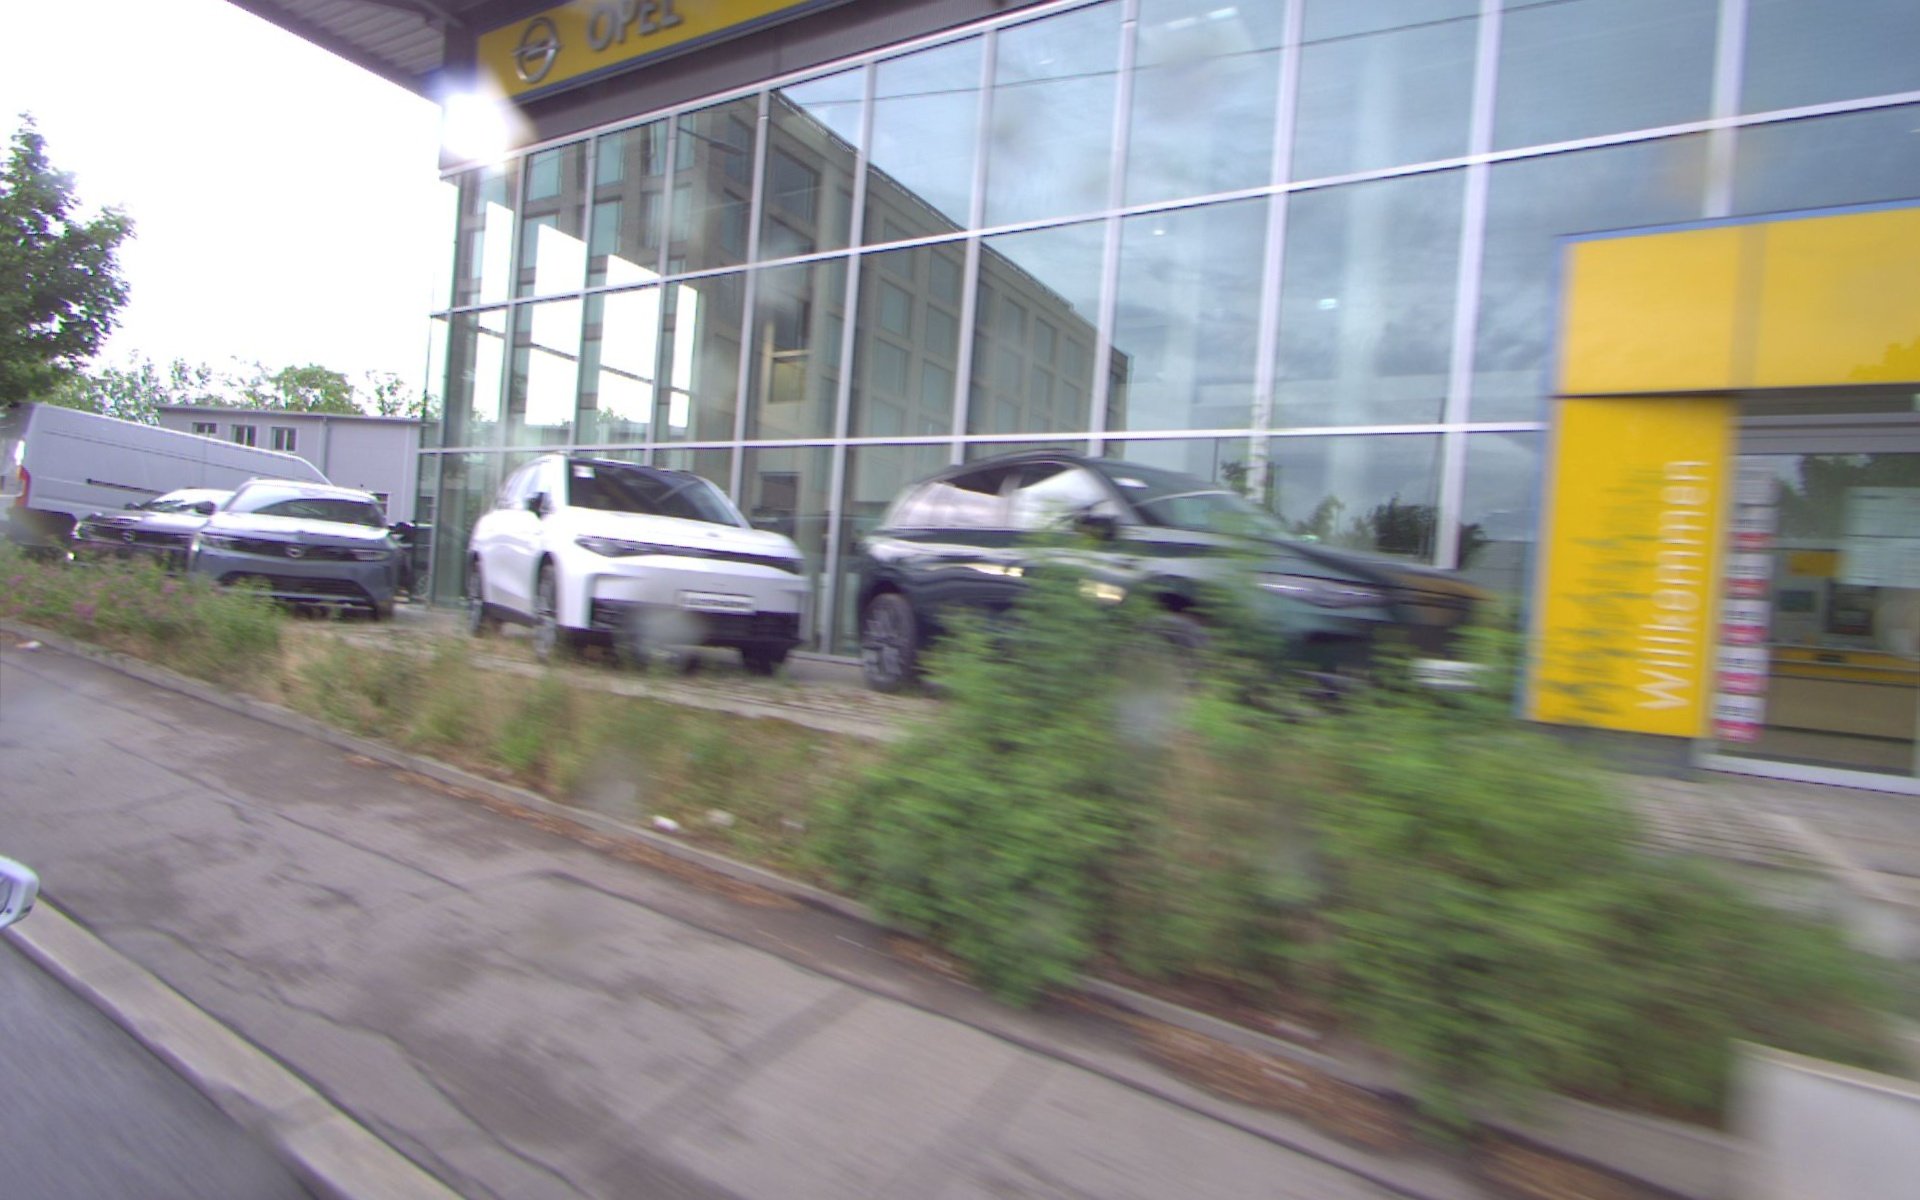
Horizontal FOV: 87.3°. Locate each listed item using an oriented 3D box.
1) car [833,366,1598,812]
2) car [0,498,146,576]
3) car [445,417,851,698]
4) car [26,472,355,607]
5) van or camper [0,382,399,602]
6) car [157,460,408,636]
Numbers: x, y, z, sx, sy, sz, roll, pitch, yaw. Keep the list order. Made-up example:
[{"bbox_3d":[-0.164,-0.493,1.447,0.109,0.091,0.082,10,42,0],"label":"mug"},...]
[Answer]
[{"bbox_3d":[1.081,-0.083,6.295,1.978,1.733,4.391,4,1,-32],"label":"car"},{"bbox_3d":[-21.391,-1.529,22.913,1.863,1.446,3.992,7,0,32],"label":"car"},{"bbox_3d":[-2.964,-0.333,8.709,1.980,1.733,4.534,4,1,-35],"label":"car"},{"bbox_3d":[-10.728,-0.776,14.533,1.883,1.473,4.507,5,1,-11],"label":"car"},{"bbox_3d":[-13.525,-1.679,17.732,2.313,2.756,5.746,7,-1,31],"label":"van or camper"},{"bbox_3d":[-7.461,-0.558,11.437,1.894,1.473,4.535,4,1,-30],"label":"car"}]
